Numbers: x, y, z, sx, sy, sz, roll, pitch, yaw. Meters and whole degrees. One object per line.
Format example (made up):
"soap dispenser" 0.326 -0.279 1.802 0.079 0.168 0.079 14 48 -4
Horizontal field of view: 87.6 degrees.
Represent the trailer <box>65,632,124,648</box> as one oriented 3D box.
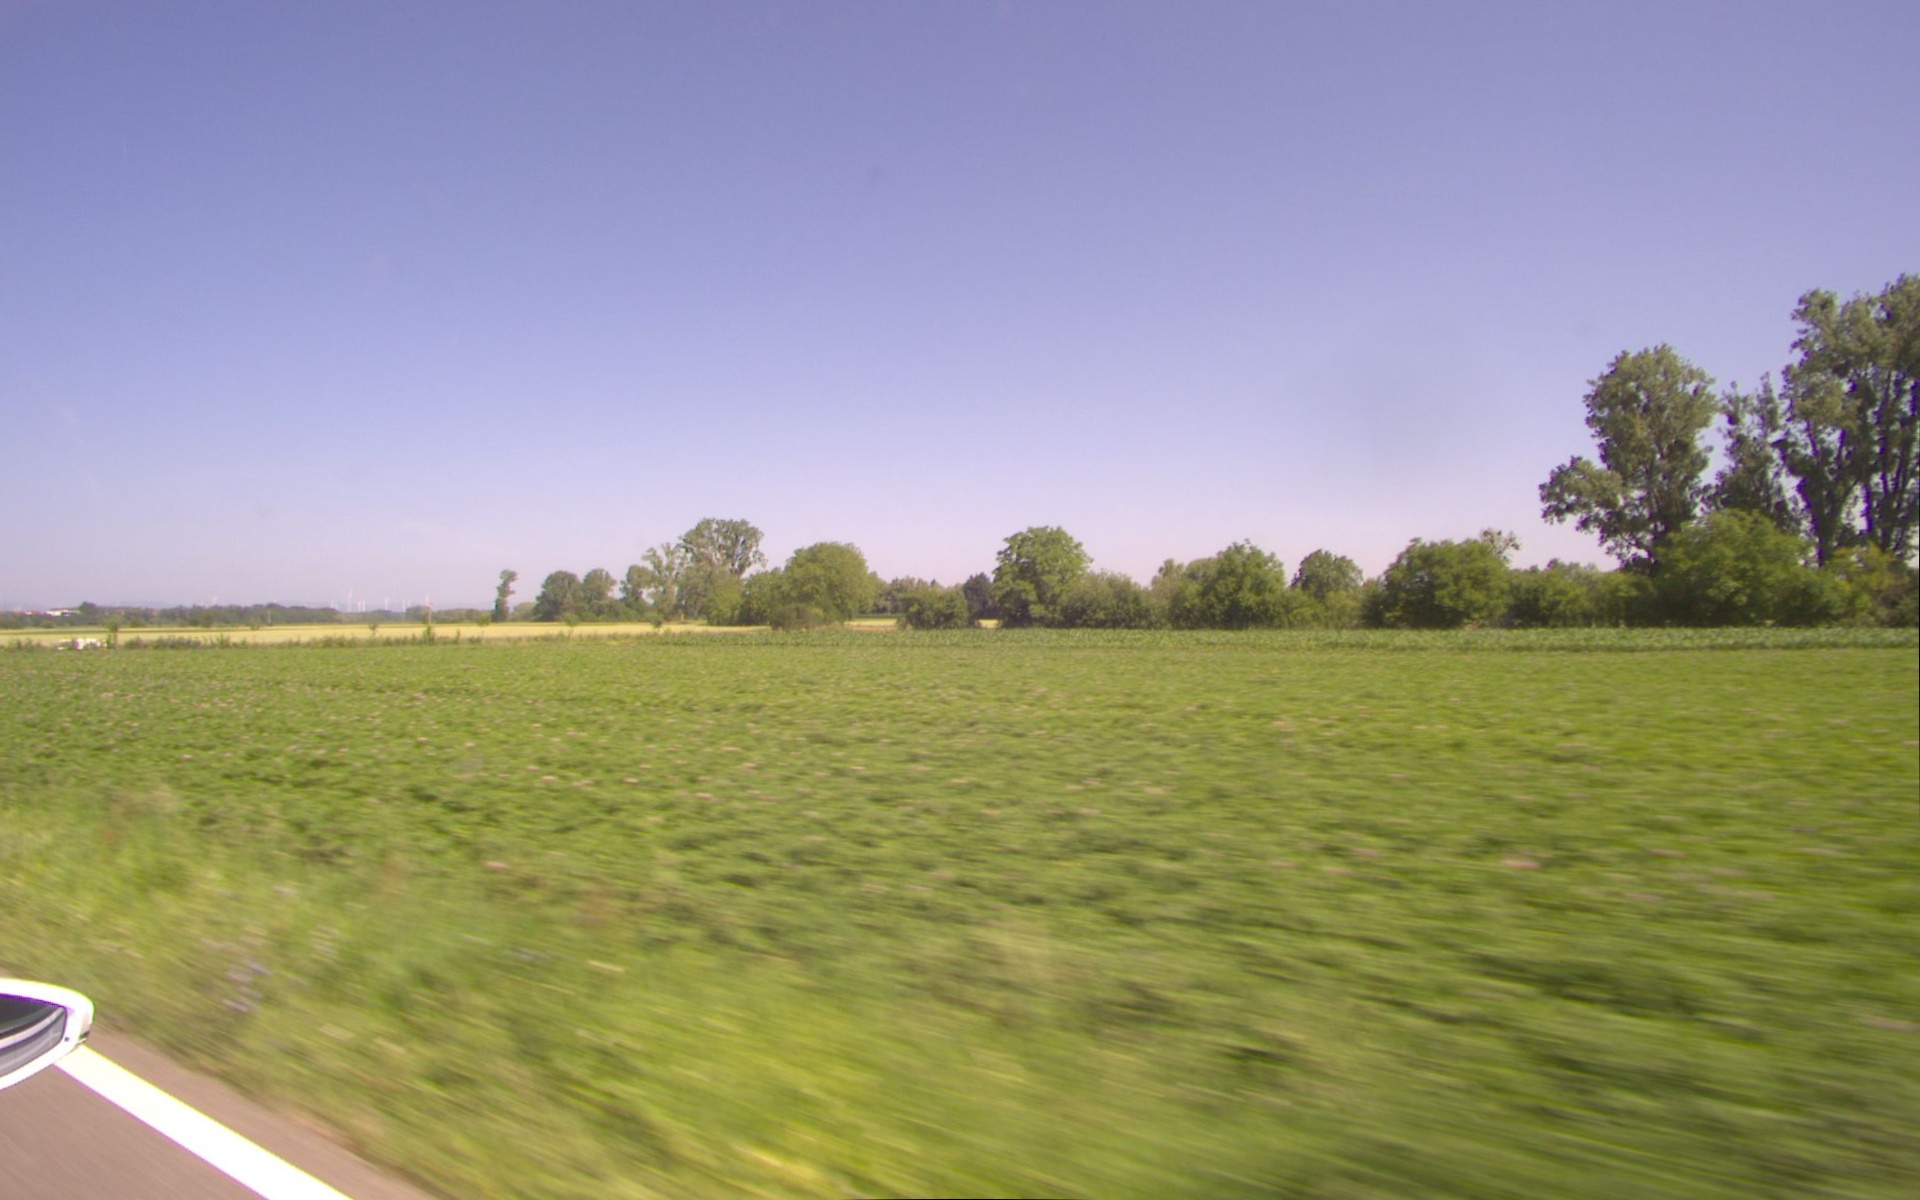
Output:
"trailer" -71.561 3.322 82.780 1.646 1.204 3.566 -2 -3 44
